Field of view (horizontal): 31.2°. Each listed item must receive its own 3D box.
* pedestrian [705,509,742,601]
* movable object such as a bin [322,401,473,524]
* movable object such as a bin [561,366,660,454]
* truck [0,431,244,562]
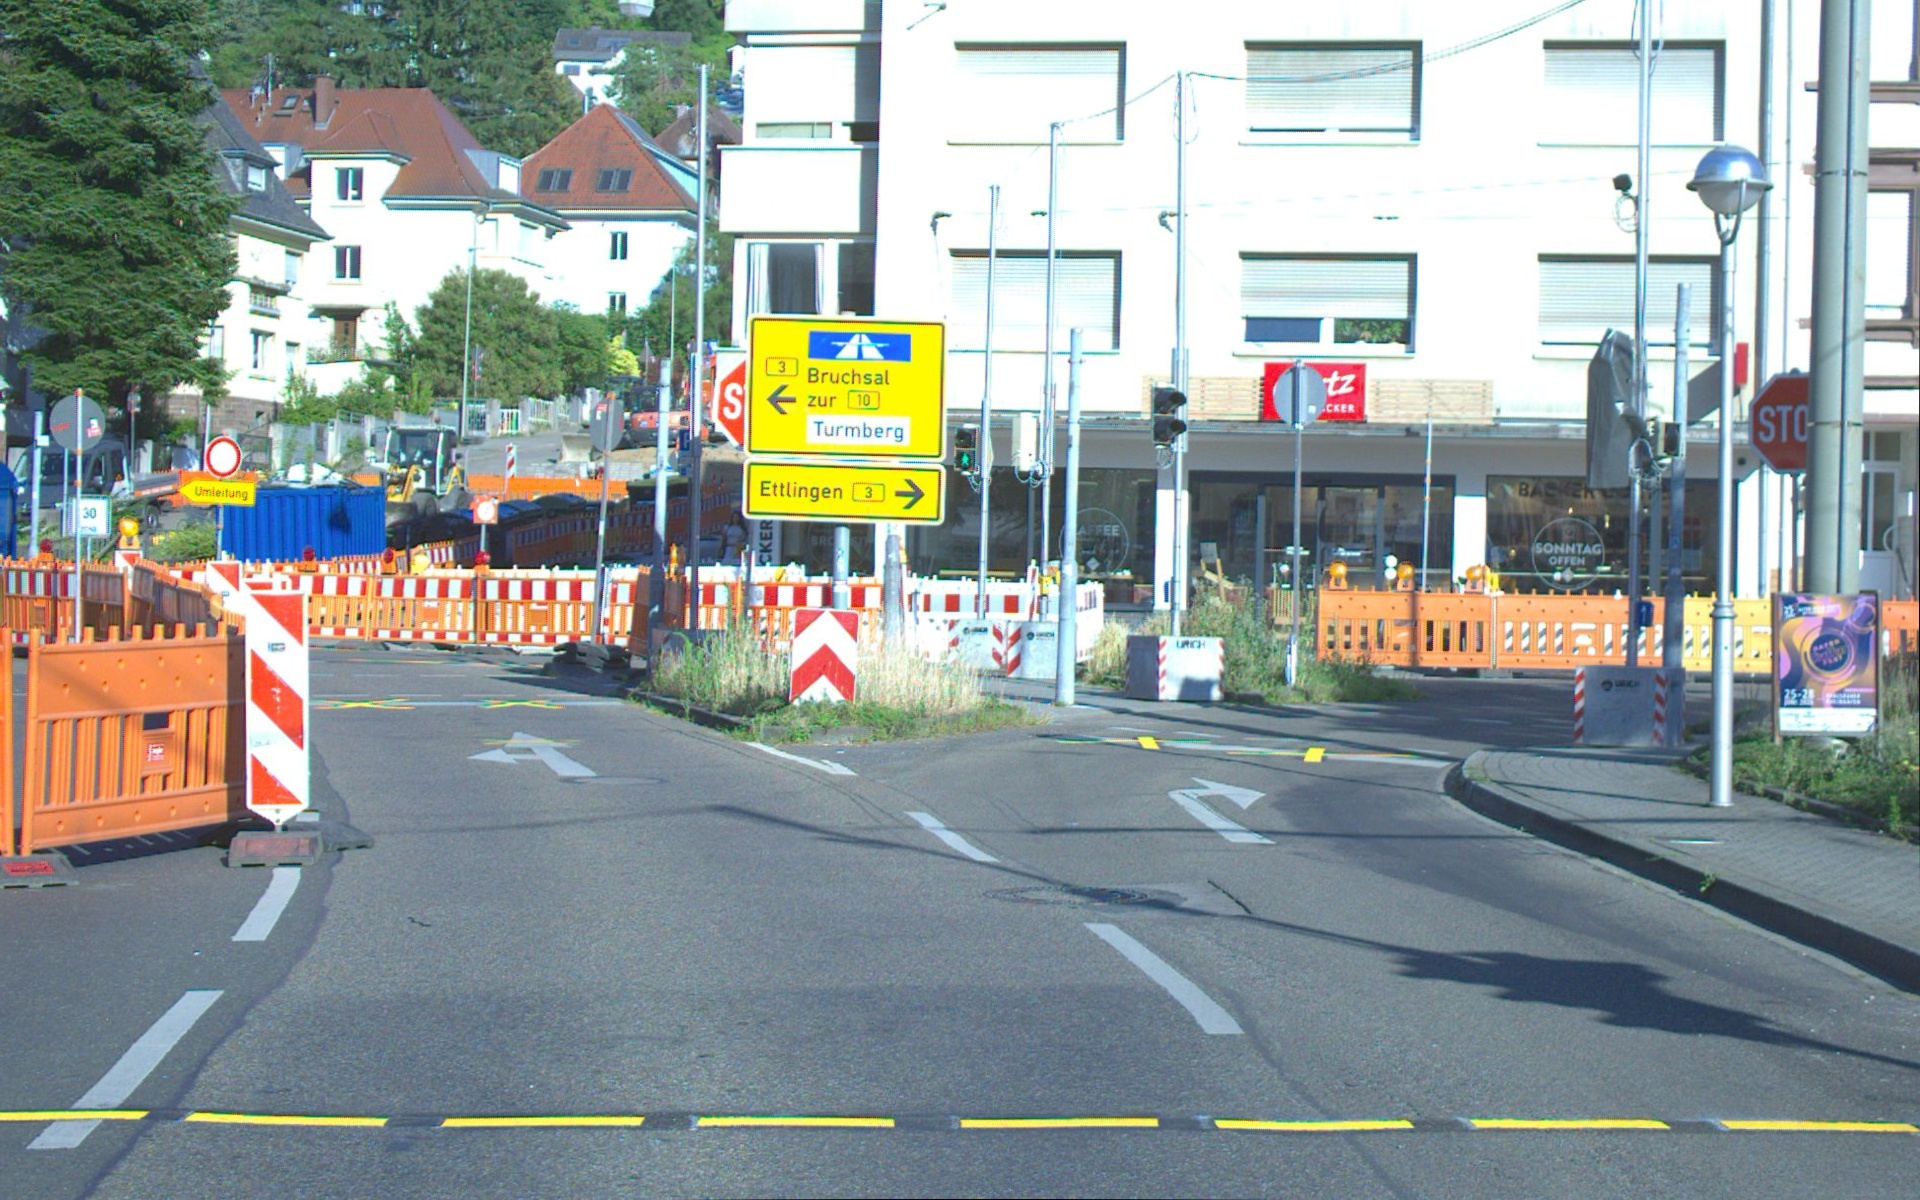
[{"bbox_3d":[-4.571,-0.875,66.409,0.640,1.754,0.718,1,1,-1],"label":"pedestrian"},{"bbox_3d":[-12.940,-3.136,79.344,2.191,2.681,3.998,1,1,10],"label":"movable object such as a bin"},{"bbox_3d":[-11.545,-6.262,113.729,2.191,2.681,3.998,1,1,10],"label":"movable object such as a bin"},{"bbox_3d":[-17.220,-1.989,68.637,2.357,2.407,9.147,1,1,11],"label":"truck"}]
